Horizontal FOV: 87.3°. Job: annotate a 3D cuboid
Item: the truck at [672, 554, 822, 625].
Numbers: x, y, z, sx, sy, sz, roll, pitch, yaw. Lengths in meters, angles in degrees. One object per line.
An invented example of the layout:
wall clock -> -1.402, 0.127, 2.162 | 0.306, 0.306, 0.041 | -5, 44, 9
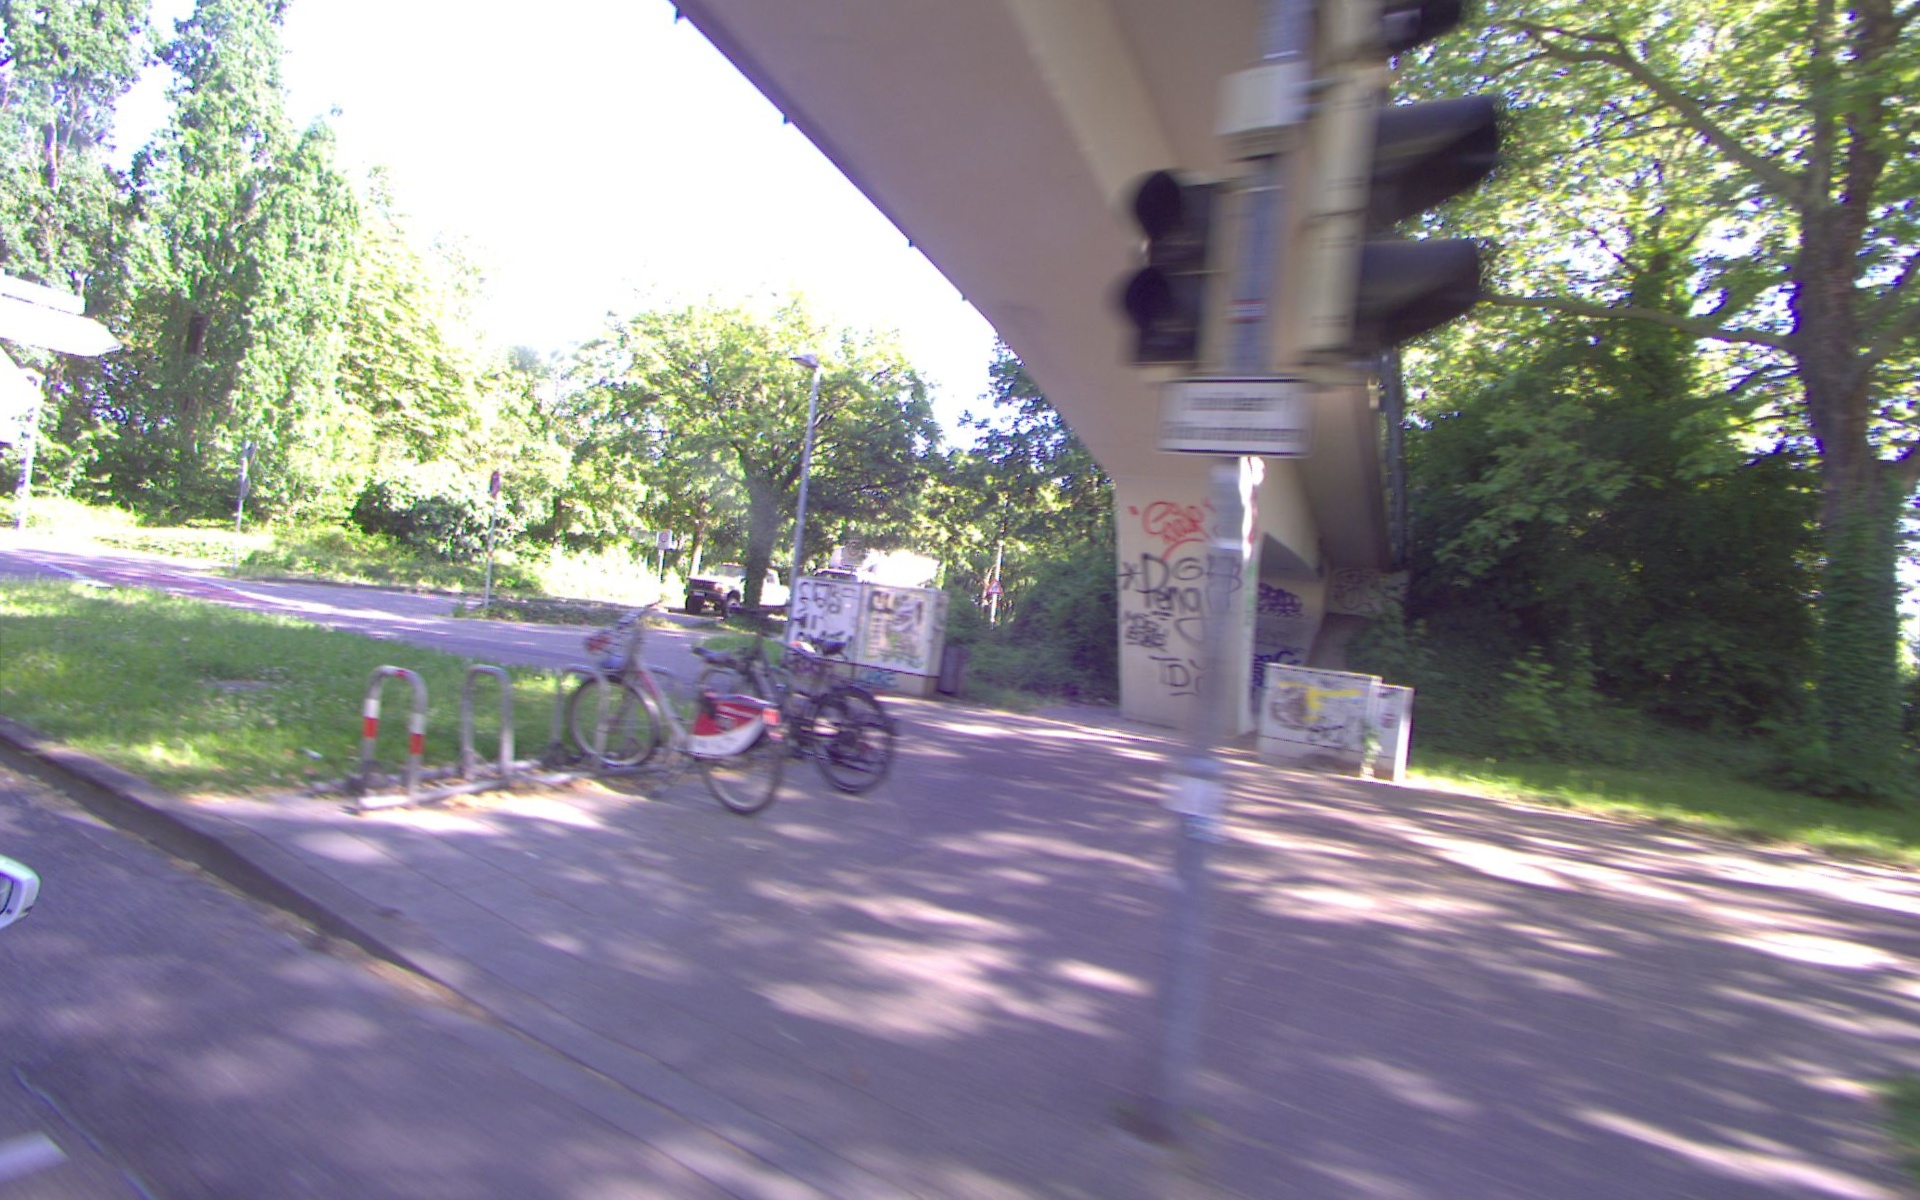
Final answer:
truck -> -8.209, -0.336, 39.605 | 2.082, 2.119, 6.644 | 6, -1, 24

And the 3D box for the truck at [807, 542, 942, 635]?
truck -> -3.917, -0.430, 48.473 | 2.576, 3.671, 7.952 | 6, -1, 25

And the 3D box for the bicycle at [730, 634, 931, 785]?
bicycle -> -1.001, 0.789, 7.627 | 1.448, 0.864, 0.505 | 8, 4, 31

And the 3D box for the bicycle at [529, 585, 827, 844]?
bicycle -> -1.727, 0.610, 6.043 | 1.770, 1.199, 0.590 | 8, 4, 31

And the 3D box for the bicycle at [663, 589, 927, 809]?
bicycle -> -1.184, 0.629, 7.040 | 1.770, 1.199, 0.590 | 8, 4, 31
